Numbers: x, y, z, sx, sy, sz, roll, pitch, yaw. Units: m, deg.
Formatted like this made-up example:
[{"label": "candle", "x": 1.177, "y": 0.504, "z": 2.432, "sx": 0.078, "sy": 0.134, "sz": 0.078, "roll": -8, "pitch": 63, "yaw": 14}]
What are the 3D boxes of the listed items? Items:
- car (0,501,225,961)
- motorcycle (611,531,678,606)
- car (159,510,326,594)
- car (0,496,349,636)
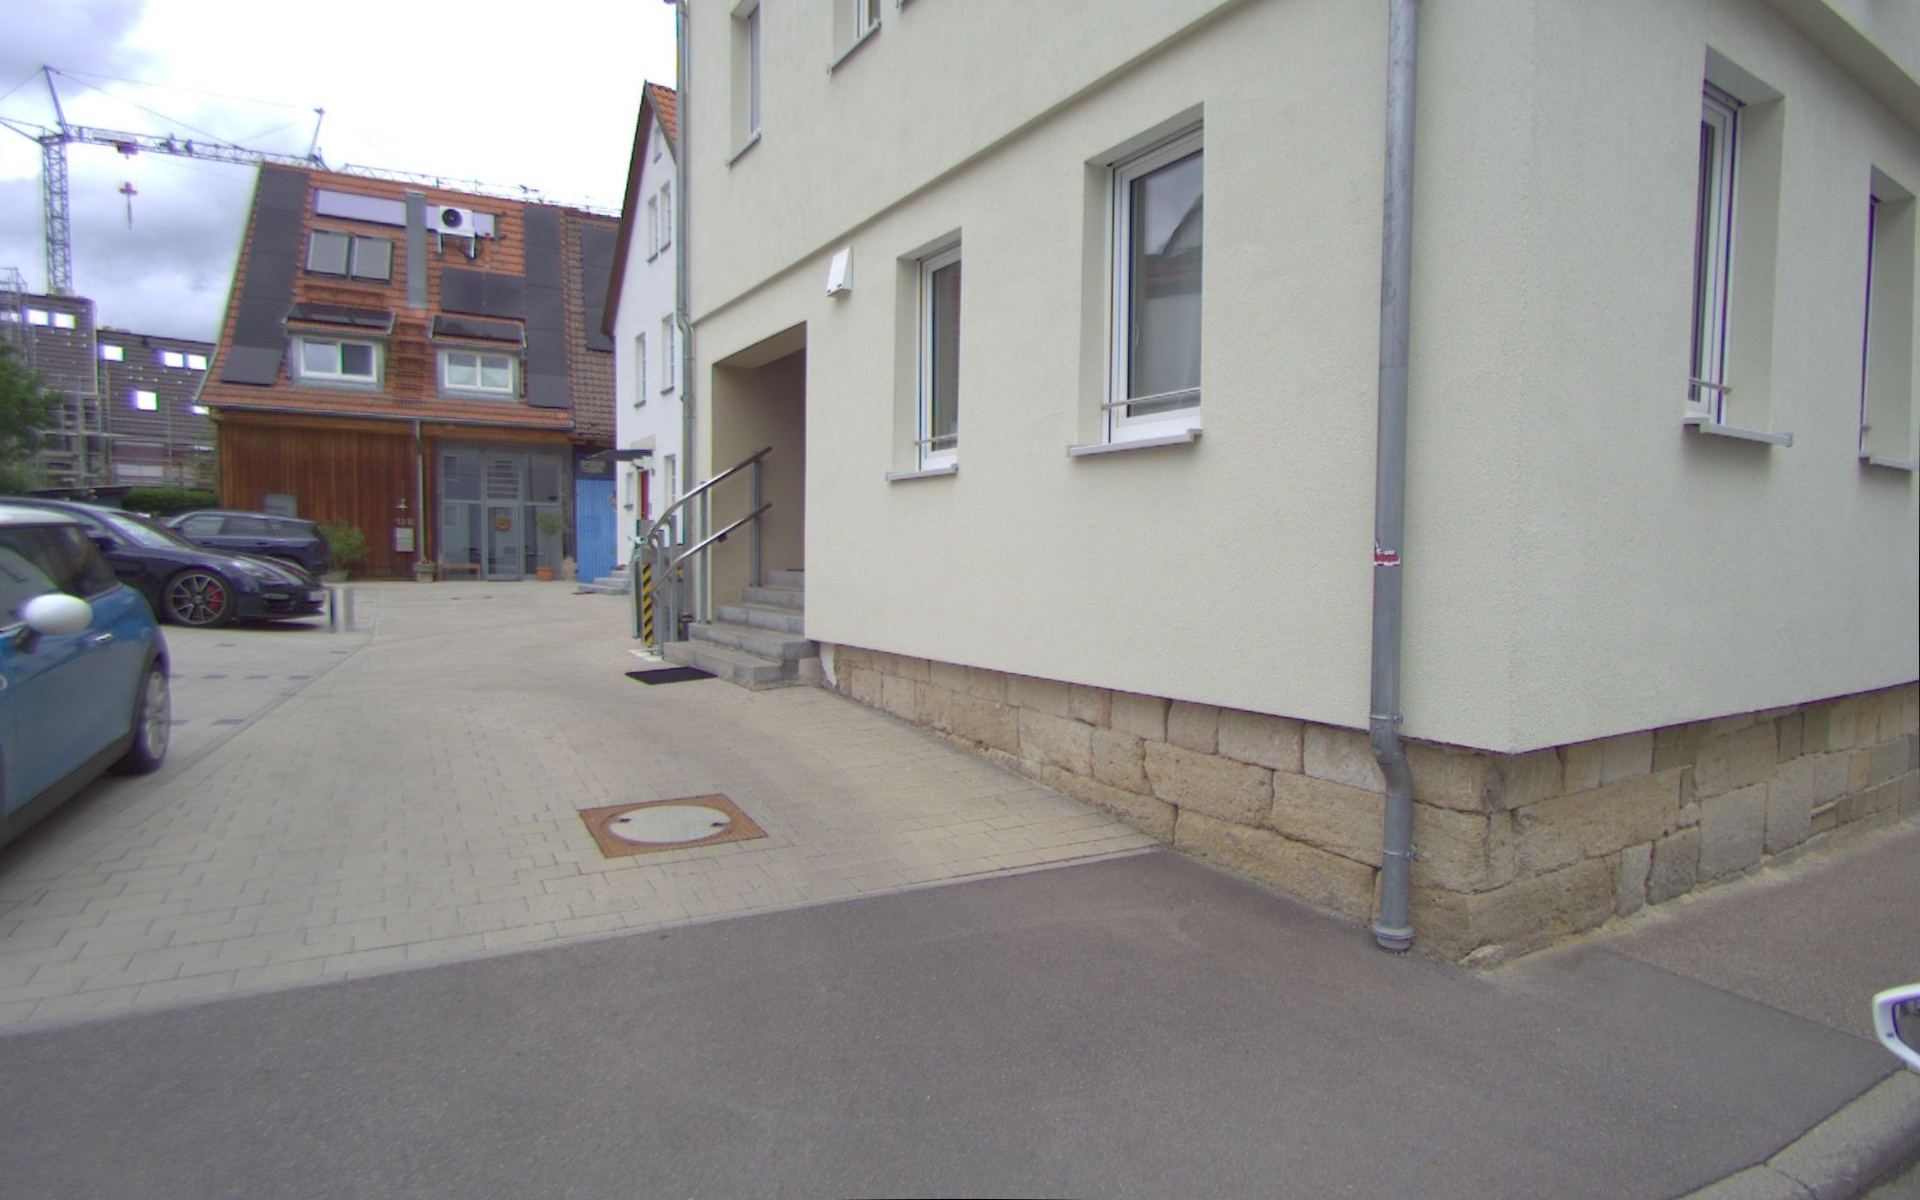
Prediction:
[{"label": "car", "x": -4.479, "y": 0.322, "z": 3.768, "sx": 2.092, "sy": 1.430, "sz": 3.717, "roll": 2, "pitch": 3, "yaw": -26}, {"label": "motorcycle", "x": -6.043, "y": -0.623, "z": 19.163, "sx": 0.777, "sy": 1.296, "sz": 1.979, "roll": 1, "pitch": 4, "yaw": -30}, {"label": "car", "x": -15.535, "y": -1.039, "z": 21.865, "sx": 2.870, "sy": 1.649, "sz": 1.723, "roll": 1, "pitch": 4, "yaw": -35}, {"label": "car", "x": -10.543, "y": -0.451, "z": 12.589, "sx": 4.498, "sy": 1.424, "sz": 1.792, "roll": 4, "pitch": 0, "yaw": -13}]
